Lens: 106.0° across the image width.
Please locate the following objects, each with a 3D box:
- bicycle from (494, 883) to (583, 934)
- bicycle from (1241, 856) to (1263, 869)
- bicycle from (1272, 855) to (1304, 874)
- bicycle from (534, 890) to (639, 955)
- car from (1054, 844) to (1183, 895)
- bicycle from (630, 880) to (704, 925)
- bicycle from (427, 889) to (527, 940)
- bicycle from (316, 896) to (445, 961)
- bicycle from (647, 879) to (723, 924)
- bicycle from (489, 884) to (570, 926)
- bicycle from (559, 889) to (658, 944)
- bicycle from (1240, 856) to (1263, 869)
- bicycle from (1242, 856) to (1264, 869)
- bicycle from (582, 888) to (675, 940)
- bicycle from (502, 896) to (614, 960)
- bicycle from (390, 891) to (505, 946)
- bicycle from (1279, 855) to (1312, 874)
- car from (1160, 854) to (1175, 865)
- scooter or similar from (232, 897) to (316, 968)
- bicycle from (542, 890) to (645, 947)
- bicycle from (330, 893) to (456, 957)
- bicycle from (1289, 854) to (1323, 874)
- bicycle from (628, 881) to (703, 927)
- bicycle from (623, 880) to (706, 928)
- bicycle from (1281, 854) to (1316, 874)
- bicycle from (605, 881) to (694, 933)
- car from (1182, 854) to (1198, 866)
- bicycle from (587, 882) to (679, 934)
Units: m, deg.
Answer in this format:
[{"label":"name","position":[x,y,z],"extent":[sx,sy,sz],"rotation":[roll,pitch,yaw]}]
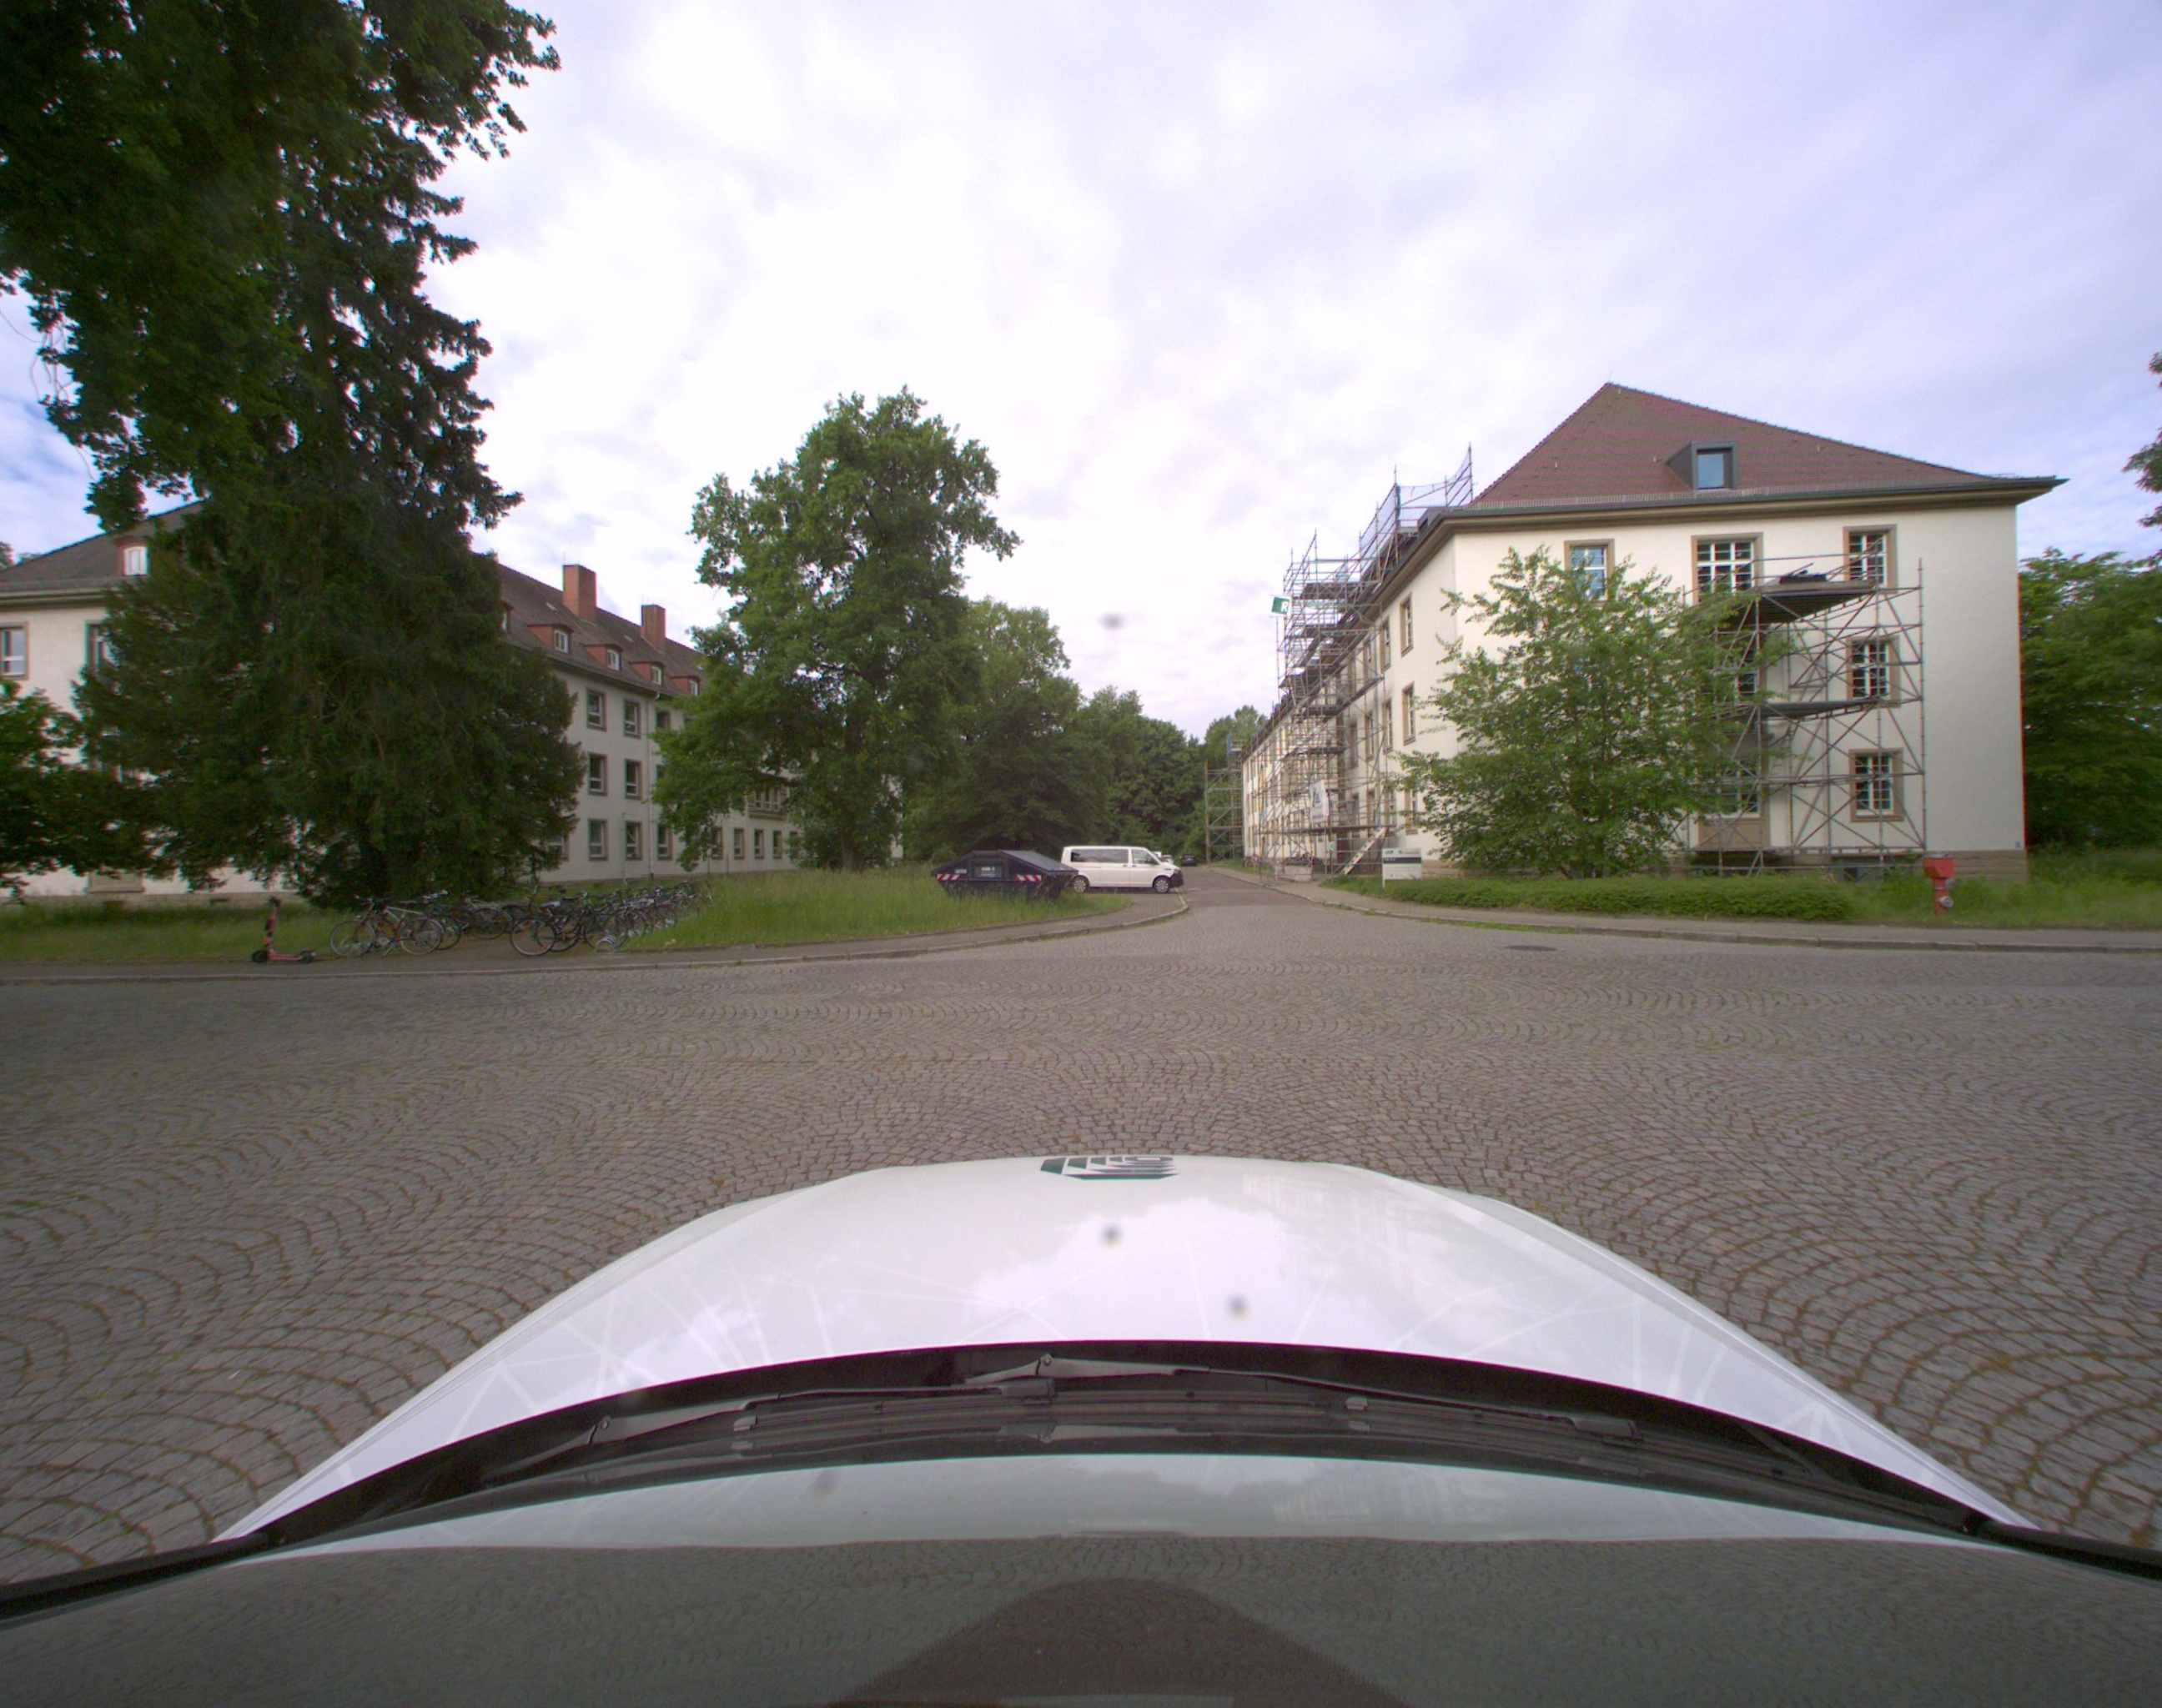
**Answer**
[{"label":"bicycle","position":[-13.226,1.316,19.893],"extent":[1.745,1.171,0.551],"rotation":[-1,-1,-4]},{"label":"bicycle","position":[14.960,0.720,71.425],"extent":[1.843,1.095,0.512],"rotation":[-2,-1,12]},{"label":"bicycle","position":[12.527,0.622,49.269],"extent":[1.843,1.095,0.512],"rotation":[-2,-1,12]},{"label":"bicycle","position":[-9.343,1.282,15.456],"extent":[1.626,1.074,0.473],"rotation":[-3,-1,-26]},{"label":"car","position":[1.593,0.646,34.389],"extent":[5.235,1.996,1.971],"rotation":[-2,0,4]},{"label":"bicycle","position":[-10.852,1.273,21.375],"extent":[1.644,1.112,0.441],"rotation":[-1,-1,-6]},{"label":"bicycle","position":[-13.947,1.384,18.856],"extent":[1.755,1.065,0.547],"rotation":[-1,-1,-21]},{"label":"bicycle","position":[-13.196,1.384,15.381],"extent":[1.766,1.114,0.549],"rotation":[-1,-1,-13]},{"label":"bicycle","position":[-10.651,1.271,21.962],"extent":[1.760,1.112,0.476],"rotation":[-1,-1,-12]},{"label":"bicycle","position":[-14.505,1.329,21.444],"extent":[1.677,1.042,0.550],"rotation":[-1,-1,-10]},{"label":"bicycle","position":[-9.829,1.287,16.984],"extent":[1.663,1.008,0.476],"rotation":[-3,-1,-12]},{"label":"bicycle","position":[14.634,0.738,70.070],"extent":[1.838,1.095,0.514],"rotation":[-2,-1,27]},{"label":"bicycle","position":[15.231,0.754,72.199],"extent":[1.843,1.095,0.512],"rotation":[-2,-1,12]},{"label":"bicycle","position":[-9.839,1.296,17.761],"extent":[1.663,1.008,0.476],"rotation":[-3,-1,-12]},{"label":"bicycle","position":[-9.434,1.319,14.750],"extent":[1.626,1.008,0.473],"rotation":[-3,-1,-26]},{"label":"bicycle","position":[-13.590,1.364,17.528],"extent":[1.826,1.065,0.614],"rotation":[-1,-1,-21]},{"label":"bicycle","position":[12.694,0.608,48.256],"extent":[1.843,1.095,0.512],"rotation":[-2,-1,12]},{"label":"car","position":[10.274,0.646,96.761],"extent":[1.572,1.339,3.956],"rotation":[-1,0,3]},{"label":"scooter or similar","position":[-14.495,1.403,14.635],"extent":[1.130,1.210,0.358],"rotation":[-1,-1,0]},{"label":"bicycle","position":[-9.778,1.279,16.365],"extent":[1.663,1.008,0.476],"rotation":[-3,-1,-12]},{"label":"bicycle","position":[-13.358,1.364,15.848],"extent":[1.801,1.114,0.549],"rotation":[-1,-1,-13]},{"label":"bicycle","position":[12.725,0.583,46.103],"extent":[1.843,1.095,0.512],"rotation":[-2,-1,12]},{"label":"bicycle","position":[-10.634,1.264,20.865],"extent":[1.644,1.112,0.441],"rotation":[-1,-1,-6]},{"label":"bicycle","position":[-10.442,1.251,20.452],"extent":[1.760,1.112,0.476],"rotation":[-1,-1,-12]},{"label":"bicycle","position":[12.458,0.593,46.674],"extent":[1.843,1.095,0.512],"rotation":[-2,-1,12]},{"label":"bicycle","position":[-10.136,1.232,19.182],"extent":[1.764,1.112,0.475],"rotation":[-1,-1,-17]},{"label":"car","position":[12.934,0.741,96.637],"extent":[1.572,1.371,3.956],"rotation":[-1,0,3]},{"label":"bicycle","position":[-10.229,1.227,18.652],"extent":[1.760,1.112,0.476],"rotation":[-1,-1,-12]}]
